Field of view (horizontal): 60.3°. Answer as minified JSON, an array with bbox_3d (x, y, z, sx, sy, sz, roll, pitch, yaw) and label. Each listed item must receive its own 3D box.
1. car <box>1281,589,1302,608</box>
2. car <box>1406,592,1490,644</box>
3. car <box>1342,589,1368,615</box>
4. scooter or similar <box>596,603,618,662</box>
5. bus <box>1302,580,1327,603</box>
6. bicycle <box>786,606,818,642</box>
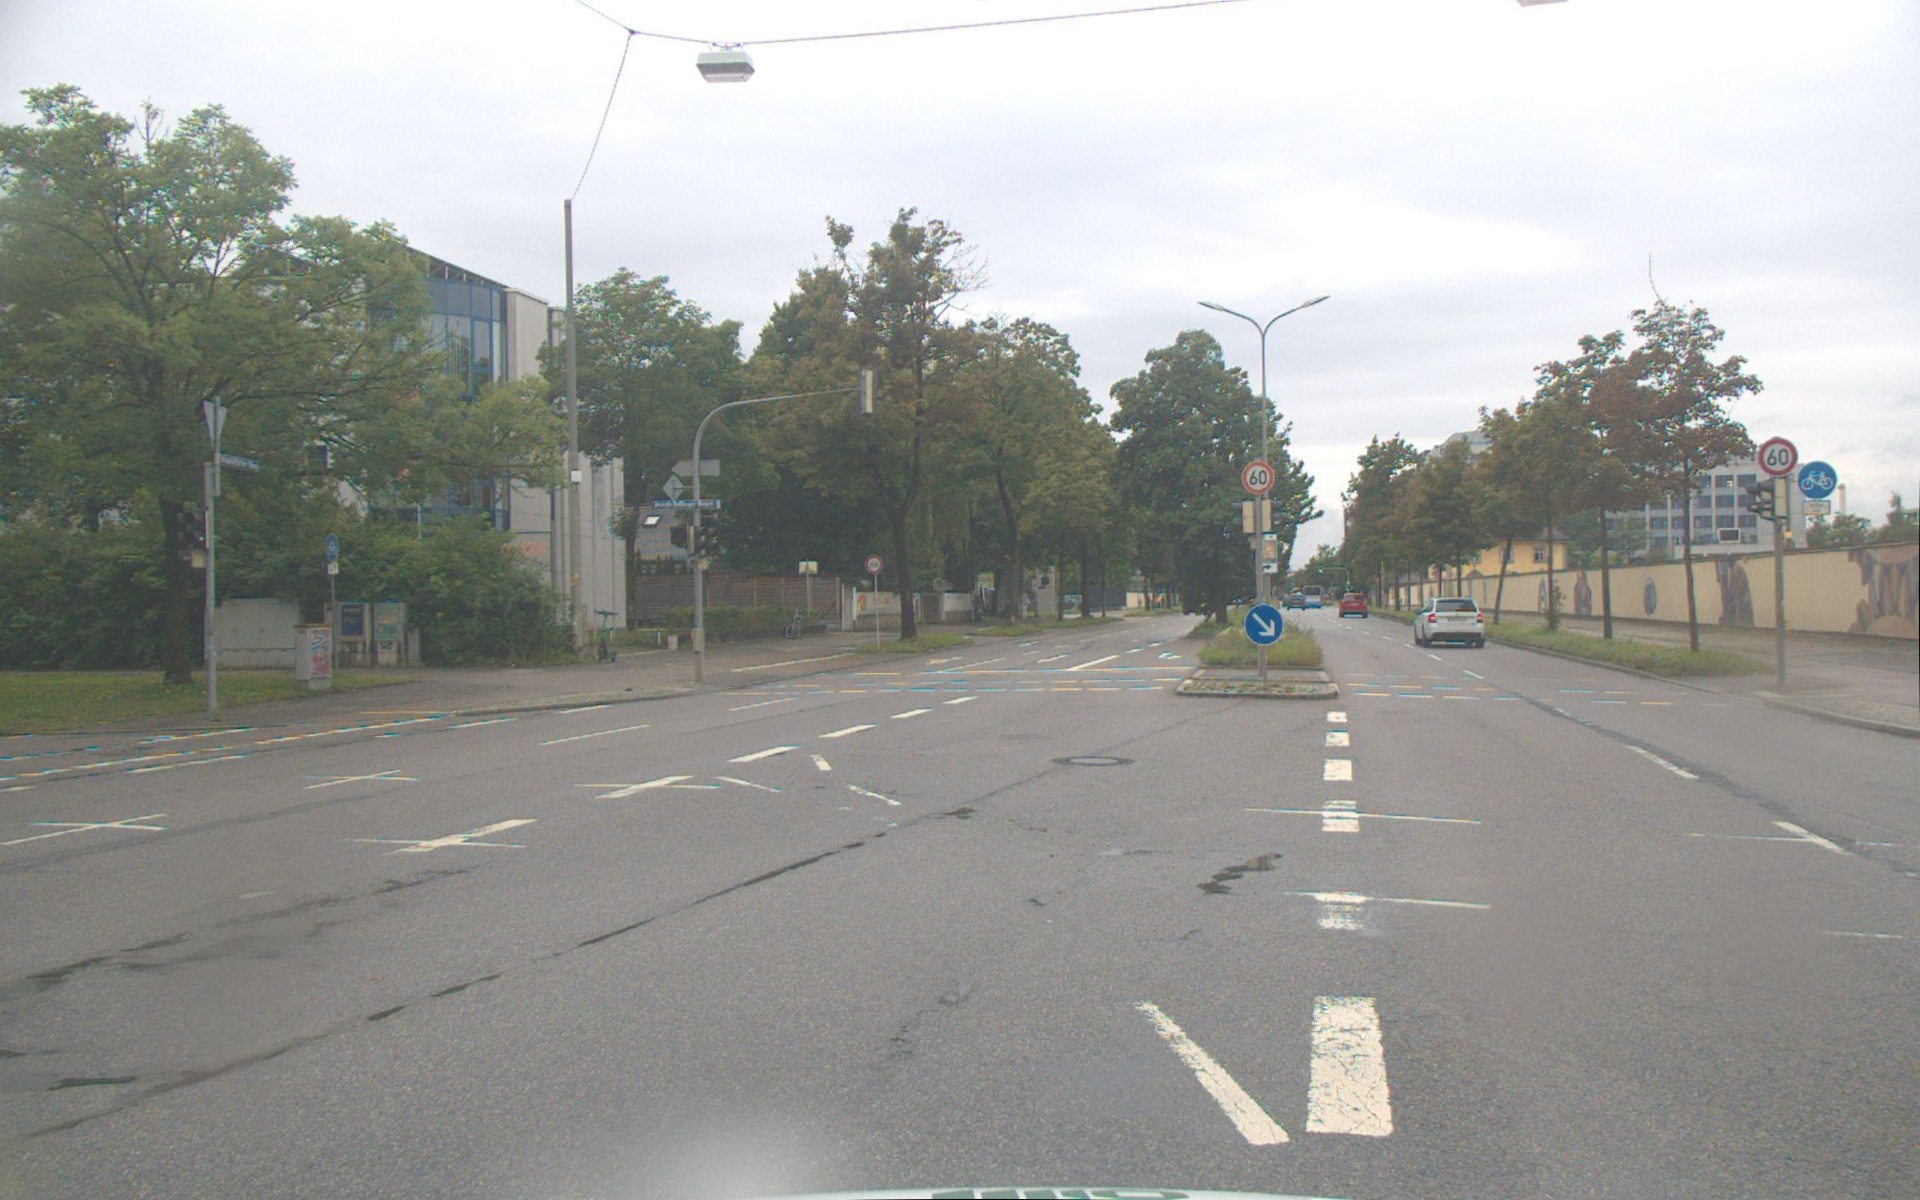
[{"bbox_3d":[34.345,-0.155,171.441,2.039,1.898,4.390,0,0,10],"label":"car"},{"bbox_3d":[14.529,0.511,49.451,1.838,1.493,4.506,0,0,9],"label":"car"},{"bbox_3d":[26.752,0.119,112.097,1.452,1.745,3.554,0,0,10],"label":"car"},{"bbox_3d":[-8.943,0.806,41.933,0.363,1.449,1.404,0,0,-4],"label":"scooter or similar"},{"bbox_3d":[50.137,-1.143,234.109,3.152,3.181,10.354,0,0,10],"label":"bus"},{"bbox_3d":[-5.820,0.872,61.045,0.569,1.318,2.456,0,0,9],"label":"bicycle"}]
